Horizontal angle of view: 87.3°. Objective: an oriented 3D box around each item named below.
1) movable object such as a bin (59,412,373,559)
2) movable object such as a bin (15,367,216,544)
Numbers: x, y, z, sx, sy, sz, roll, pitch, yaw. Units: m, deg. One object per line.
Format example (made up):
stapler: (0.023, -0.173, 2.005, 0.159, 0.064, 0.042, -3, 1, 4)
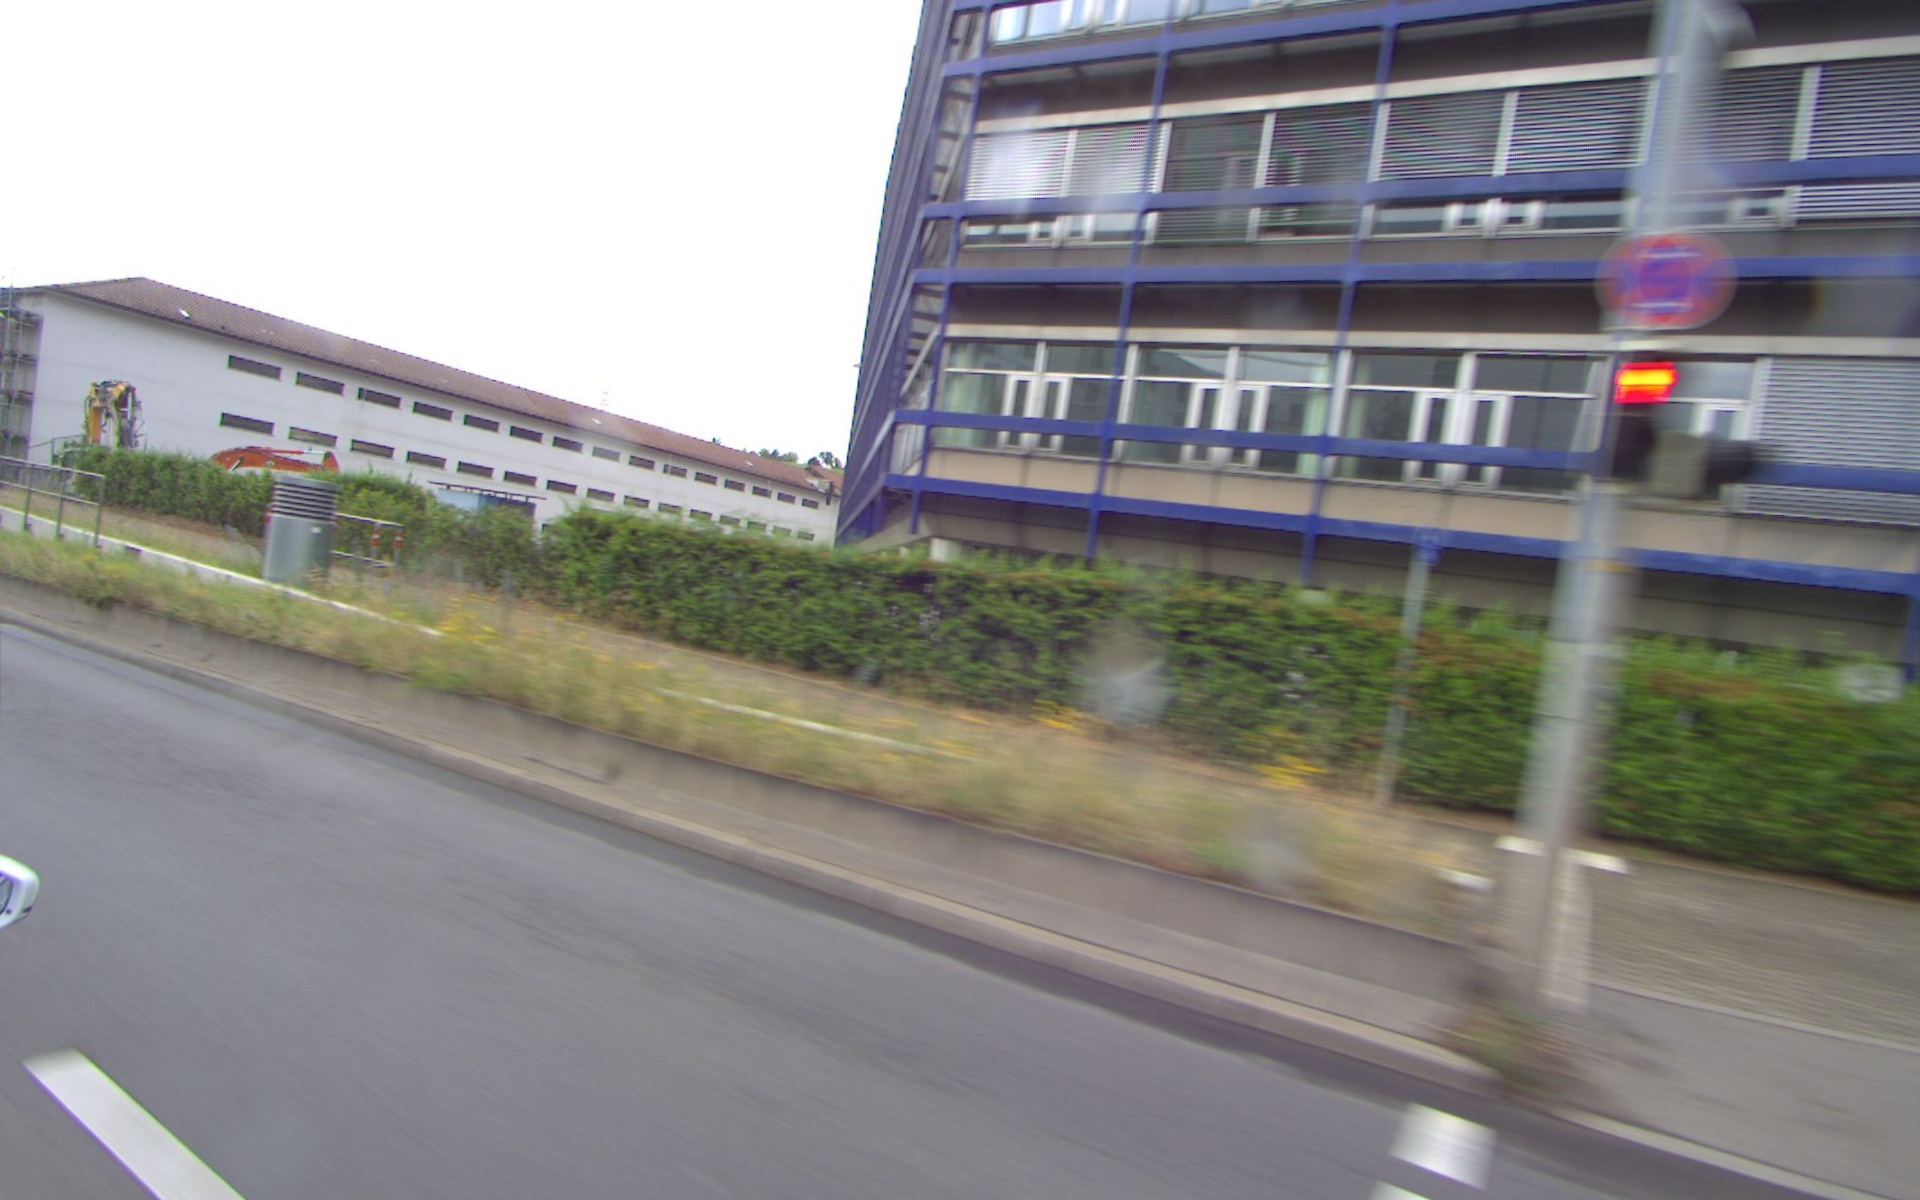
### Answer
movable object such as a bin: (-37.511, -5.531, 51.590, 3.727, 5.325, 12.154, 6, -1, 32)
movable object such as a bin: (-32.787, -5.466, 38.945, 8.626, 5.749, 3.294, 6, -2, 35)
